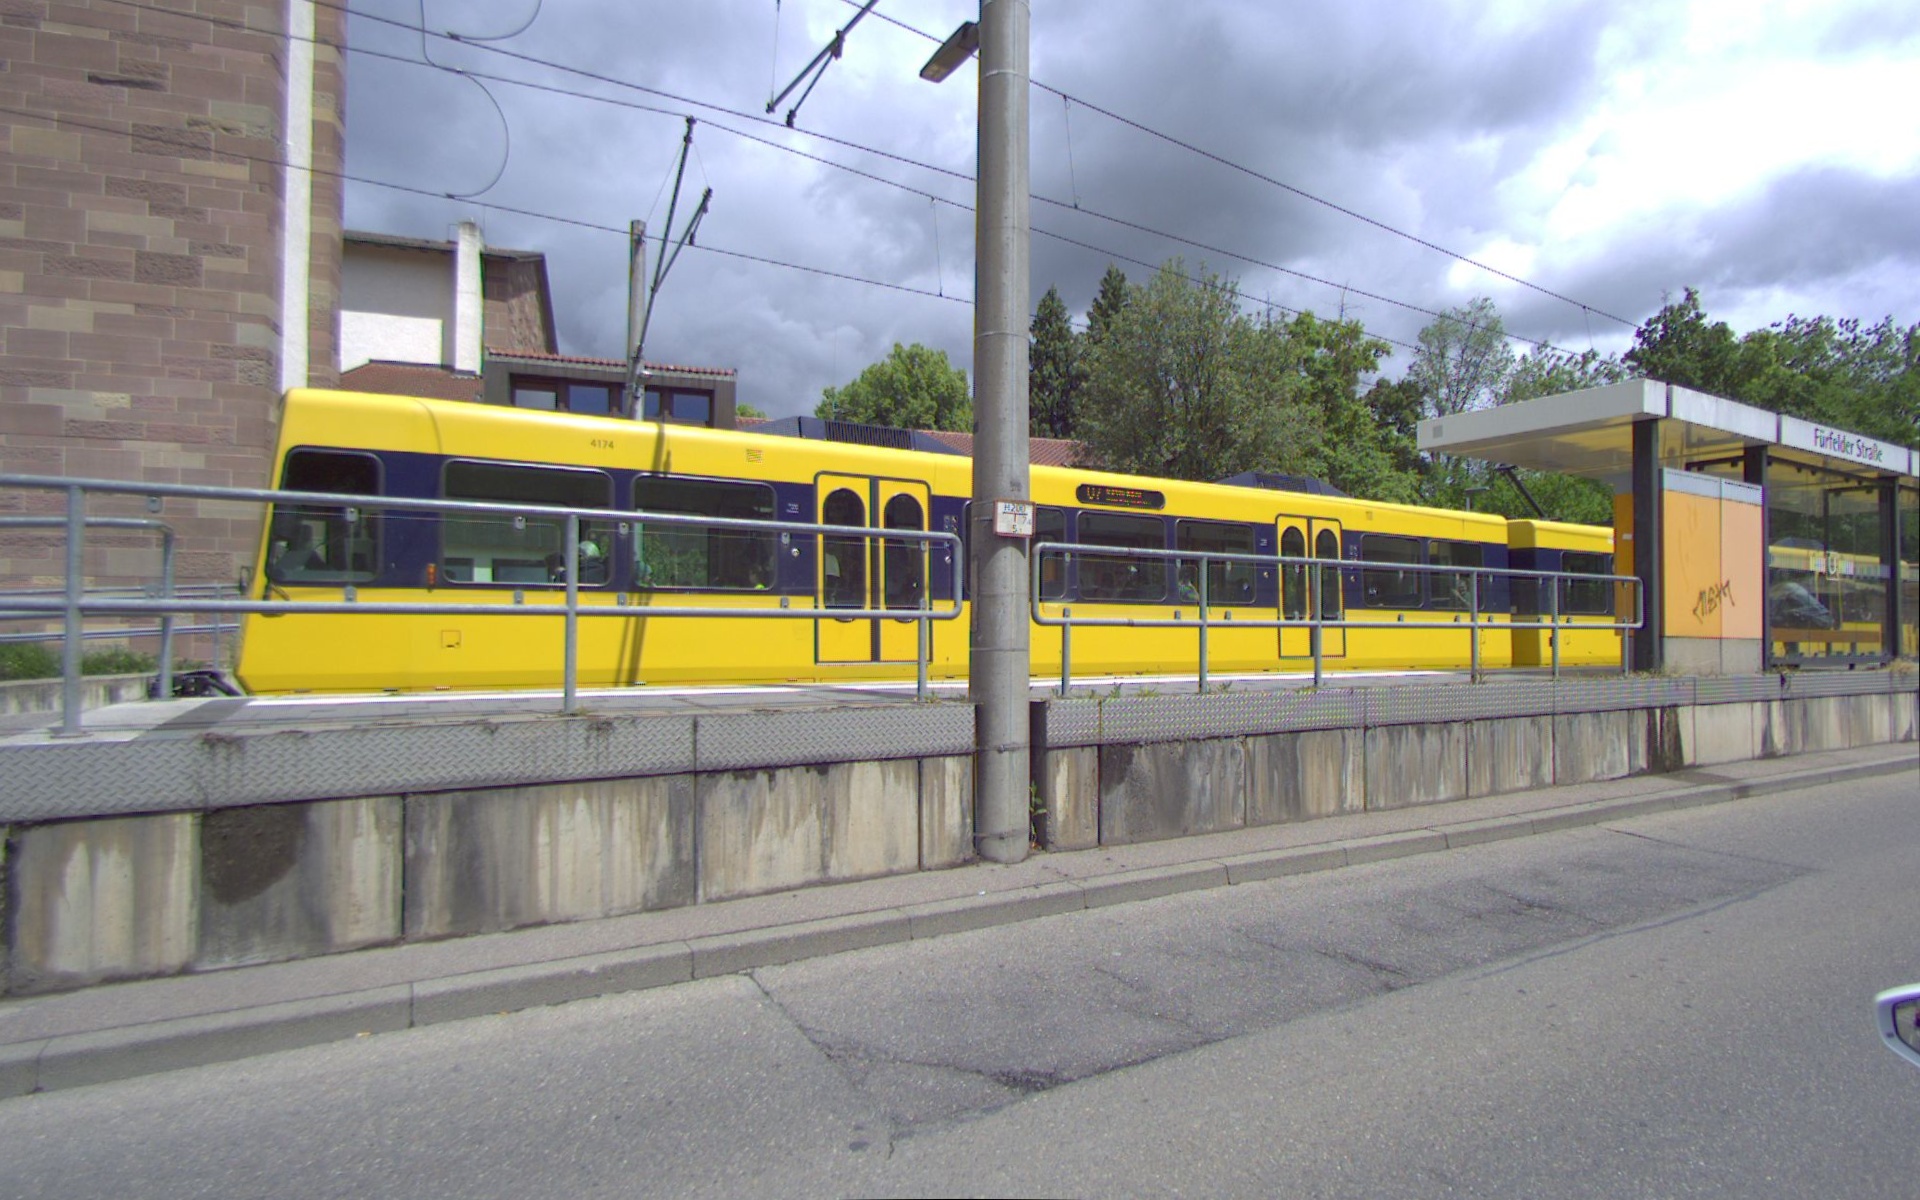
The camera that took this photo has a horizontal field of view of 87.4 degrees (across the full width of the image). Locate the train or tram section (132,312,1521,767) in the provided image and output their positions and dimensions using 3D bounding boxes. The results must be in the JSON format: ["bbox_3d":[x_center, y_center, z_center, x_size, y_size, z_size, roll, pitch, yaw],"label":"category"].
[{"bbox_3d":[0.876,-0.270,13.856,18.608,3.511,3.092,1,0,-31],"label":"train or tram section"}]

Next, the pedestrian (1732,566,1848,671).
[{"bbox_3d":[9.999,0.240,12.107,0.909,1.202,0.792,1,-3,-31],"label":"pedestrian"}]

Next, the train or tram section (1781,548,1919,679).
[{"bbox_3d":[33.112,0.555,33.081,18.976,3.511,3.092,1,0,-31],"label":"train or tram section"}]

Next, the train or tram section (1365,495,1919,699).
[{"bbox_3d":[16.894,0.140,23.433,18.776,3.511,3.092,1,0,-31],"label":"train or tram section"}]
